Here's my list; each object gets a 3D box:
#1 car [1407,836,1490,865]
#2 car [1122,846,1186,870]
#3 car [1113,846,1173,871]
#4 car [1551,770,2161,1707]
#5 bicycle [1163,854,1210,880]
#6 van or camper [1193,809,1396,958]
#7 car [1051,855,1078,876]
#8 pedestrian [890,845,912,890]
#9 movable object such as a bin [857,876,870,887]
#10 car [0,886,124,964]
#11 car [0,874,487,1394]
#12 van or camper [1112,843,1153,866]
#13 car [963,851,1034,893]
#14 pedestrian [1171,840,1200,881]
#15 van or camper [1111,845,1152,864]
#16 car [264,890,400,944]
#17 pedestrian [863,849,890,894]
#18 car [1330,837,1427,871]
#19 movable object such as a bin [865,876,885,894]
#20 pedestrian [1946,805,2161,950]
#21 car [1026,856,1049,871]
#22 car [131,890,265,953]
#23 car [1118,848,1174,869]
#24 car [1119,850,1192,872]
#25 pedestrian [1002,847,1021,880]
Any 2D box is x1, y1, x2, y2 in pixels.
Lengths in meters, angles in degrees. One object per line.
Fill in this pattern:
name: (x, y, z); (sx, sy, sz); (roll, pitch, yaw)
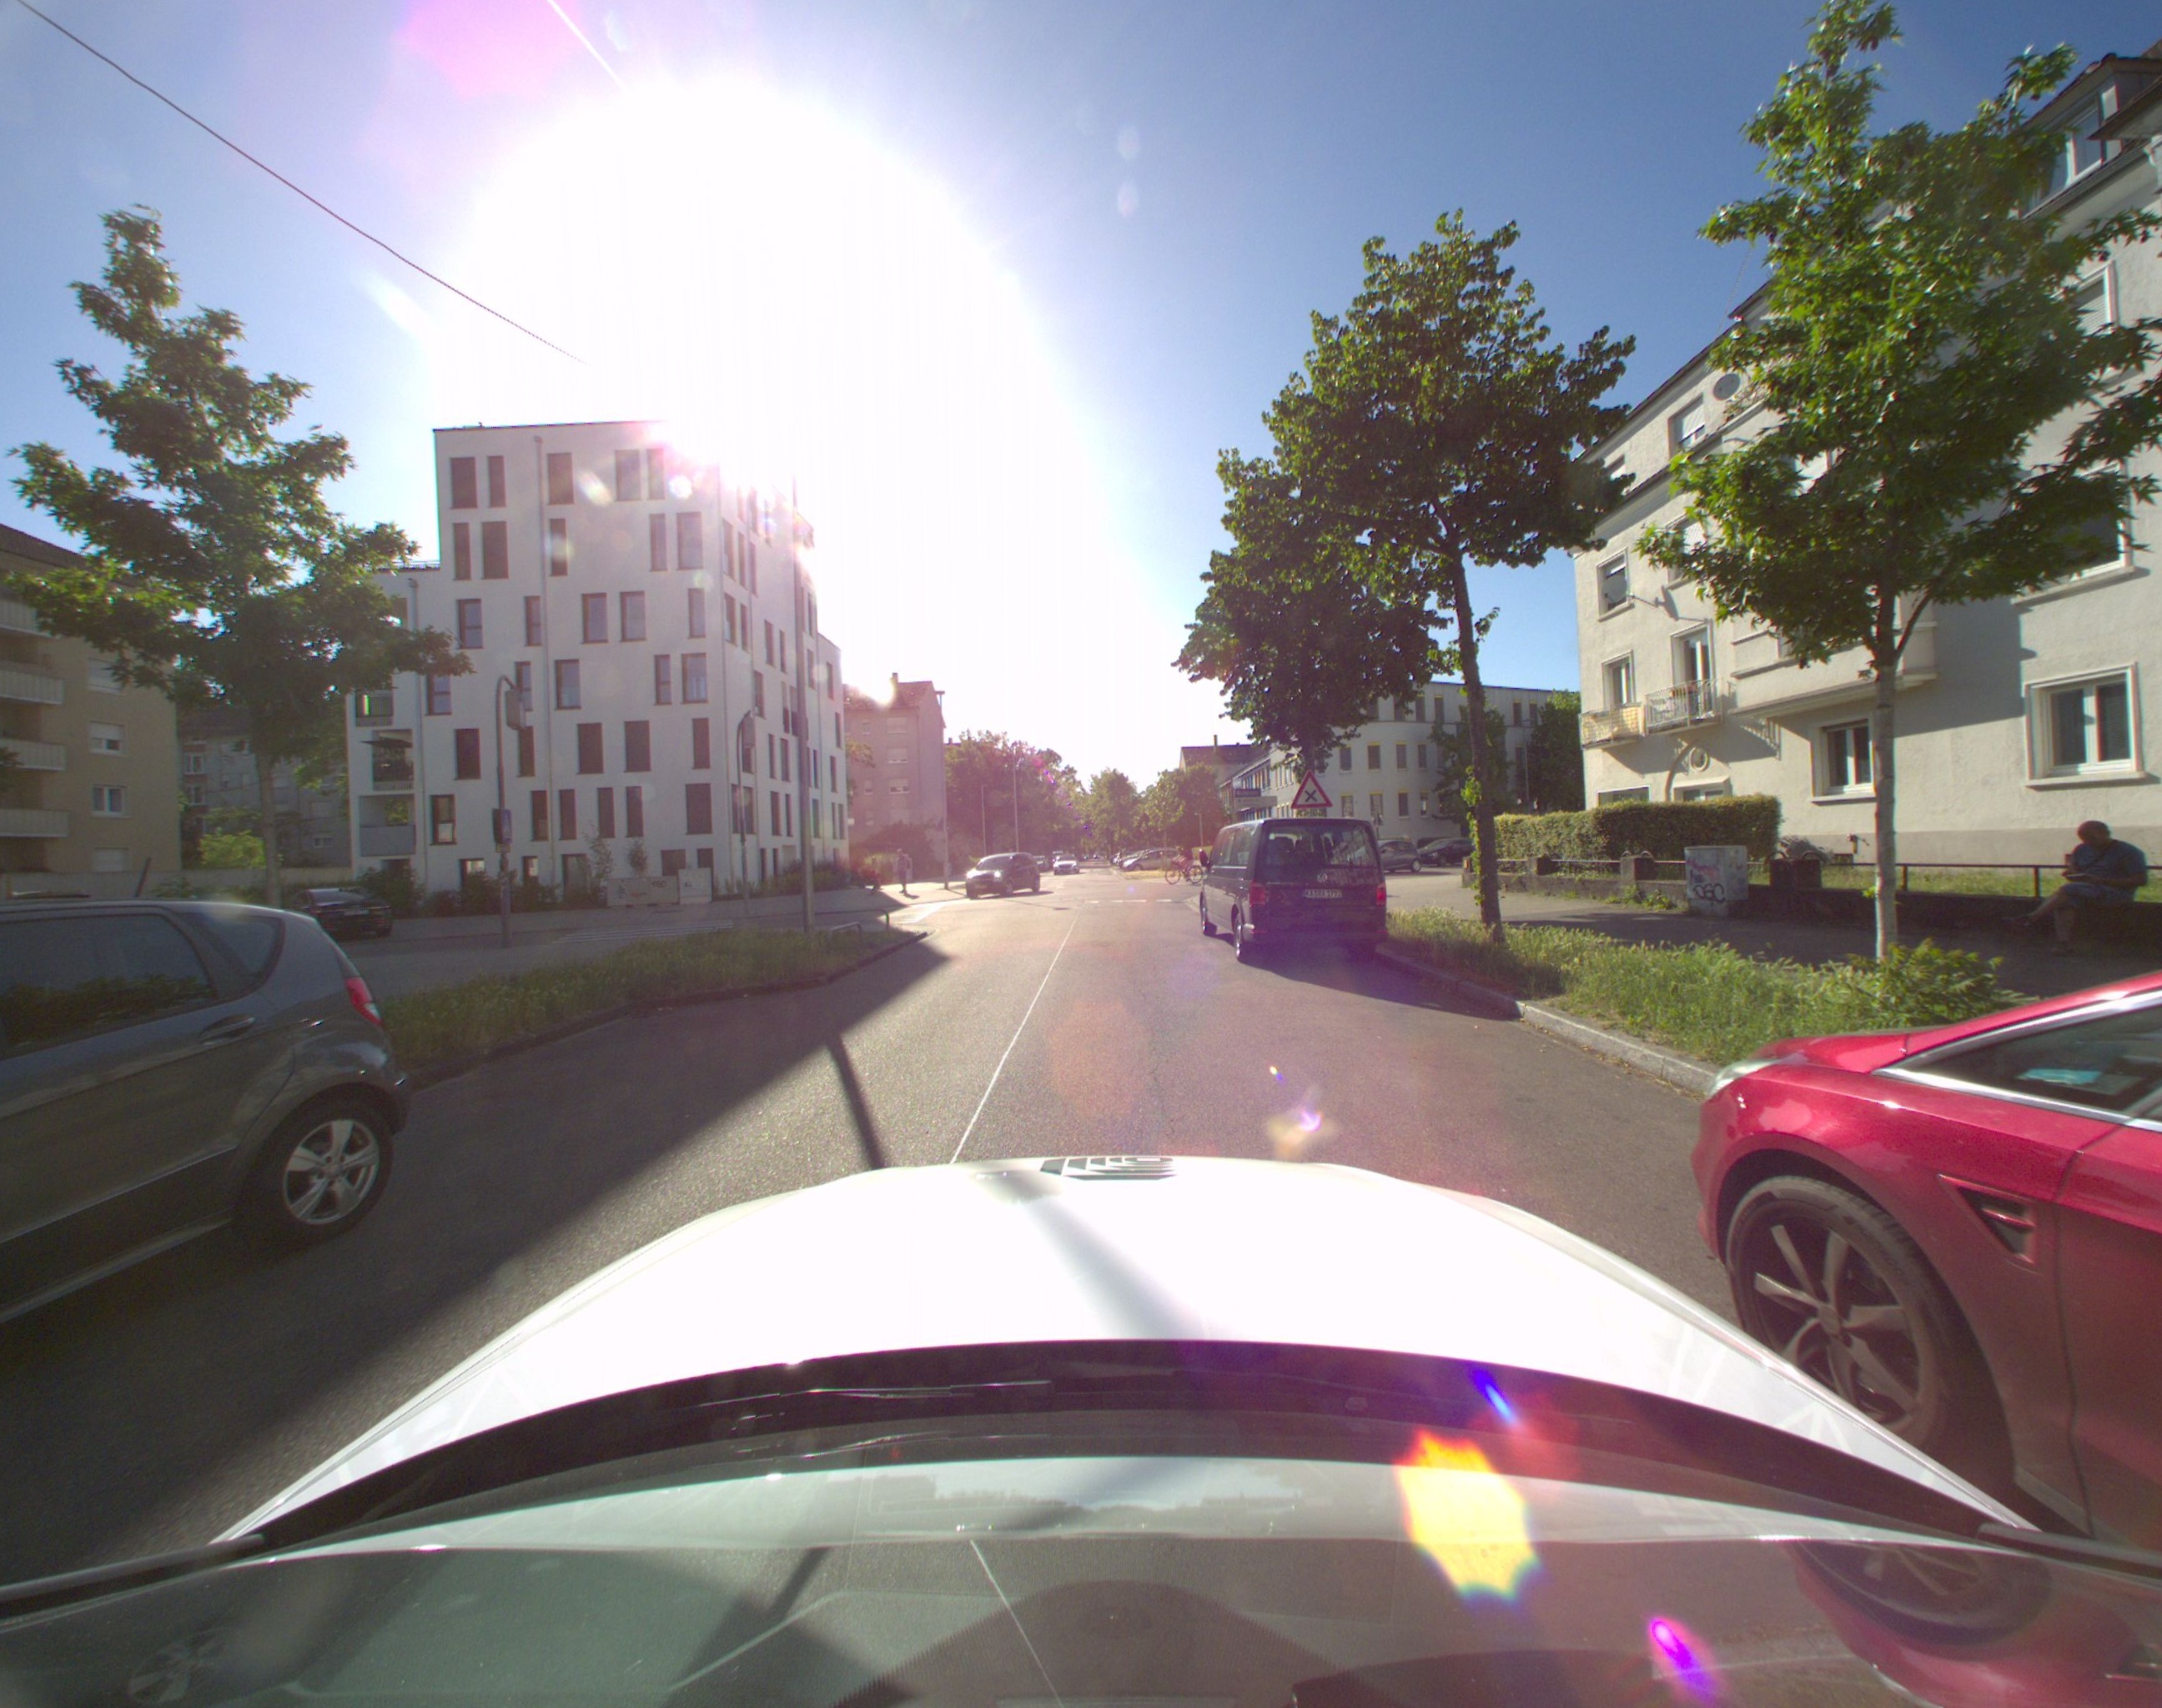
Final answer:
car: (19.804, -0.207, 43.891); (4.232, 1.410, 1.779); (-2, 1, -26)
car: (4.880, 0.270, 54.917); (4.078, 1.492, 1.727); (-1, -1, -2)
car: (4.531, 0.327, 60.159); (4.266, 1.765, 1.999); (0, -1, -1)
car: (2.710, 0.638, 0.727); (1.891, 1.613, 4.976); (-1, -1, 3)
bicycle: (4.343, 0.537, 33.391); (1.923, 1.012, 0.545); (-1, -1, -27)
van or camper: (3.047, 0.398, 12.933); (1.982, 1.863, 5.389); (0, -1, 2)
car: (-1.228, 0.863, 61.646); (1.879, 1.504, 4.638); (1, -1, 1)
pedestrian: (-7.623, 0.578, 34.447); (0.843, 1.885, 0.789); (0, -1, -9)
movable object such as a bin: (-10.772, 1.350, 40.338); (0.269, 0.541, 0.690); (-2, -1, 22)
car: (-26.568, 1.743, 20.975); (3.948, 1.651, 2.013); (-1, 2, 34)
car: (-4.201, 0.916, 2.427); (1.714, 1.562, 4.109); (-3, -1, 1)
van or camper: (5.062, 0.060, 80.741); (3.973, 2.014, 2.000); (-2, -1, 0)
car: (-3.074, 0.664, 31.254); (1.727, 1.530, 4.123); (0, -1, 9)
pedestrian: (4.269, 0.260, 33.331); (0.683, 1.640, 1.052); (-1, -1, 45)
van or camper: (5.163, 0.055, 83.607); (3.973, 1.772, 2.000); (-2, -1, 0)
car: (-21.239, 1.706, 23.052); (4.505, 1.167, 2.013); (-1, 2, 37)
pedestrian: (-9.987, 0.841, 39.743); (0.766, 2.120, 0.964); (-1, 1, 45)
car: (13.890, -0.008, 38.014); (4.144, 1.504, 1.828); (-1, 0, -24)
movable object such as a bin: (-8.505, 1.286, 33.642); (0.269, 0.680, 0.854); (-3, 0, 29)
pedestrian: (9.158, 0.220, 7.699); (1.078, 1.296, 0.819); (0, -1, 0)
car: (-3.824, 0.817, 71.940); (1.623, 1.234, 4.194); (0, -1, 2)
car: (-24.444, 1.811, 22.507); (4.505, 1.431, 2.013); (-3, 0, 37)
car: (4.968, 0.382, 62.974); (4.191, 1.596, 1.999); (0, -1, -1)
car: (5.157, 0.493, 56.950); (4.859, 1.274, 1.727); (-3, -1, -3)
pedestrian: (-3.703, 0.484, 43.253); (0.868, 1.714, 0.978); (-2, 0, -2)
